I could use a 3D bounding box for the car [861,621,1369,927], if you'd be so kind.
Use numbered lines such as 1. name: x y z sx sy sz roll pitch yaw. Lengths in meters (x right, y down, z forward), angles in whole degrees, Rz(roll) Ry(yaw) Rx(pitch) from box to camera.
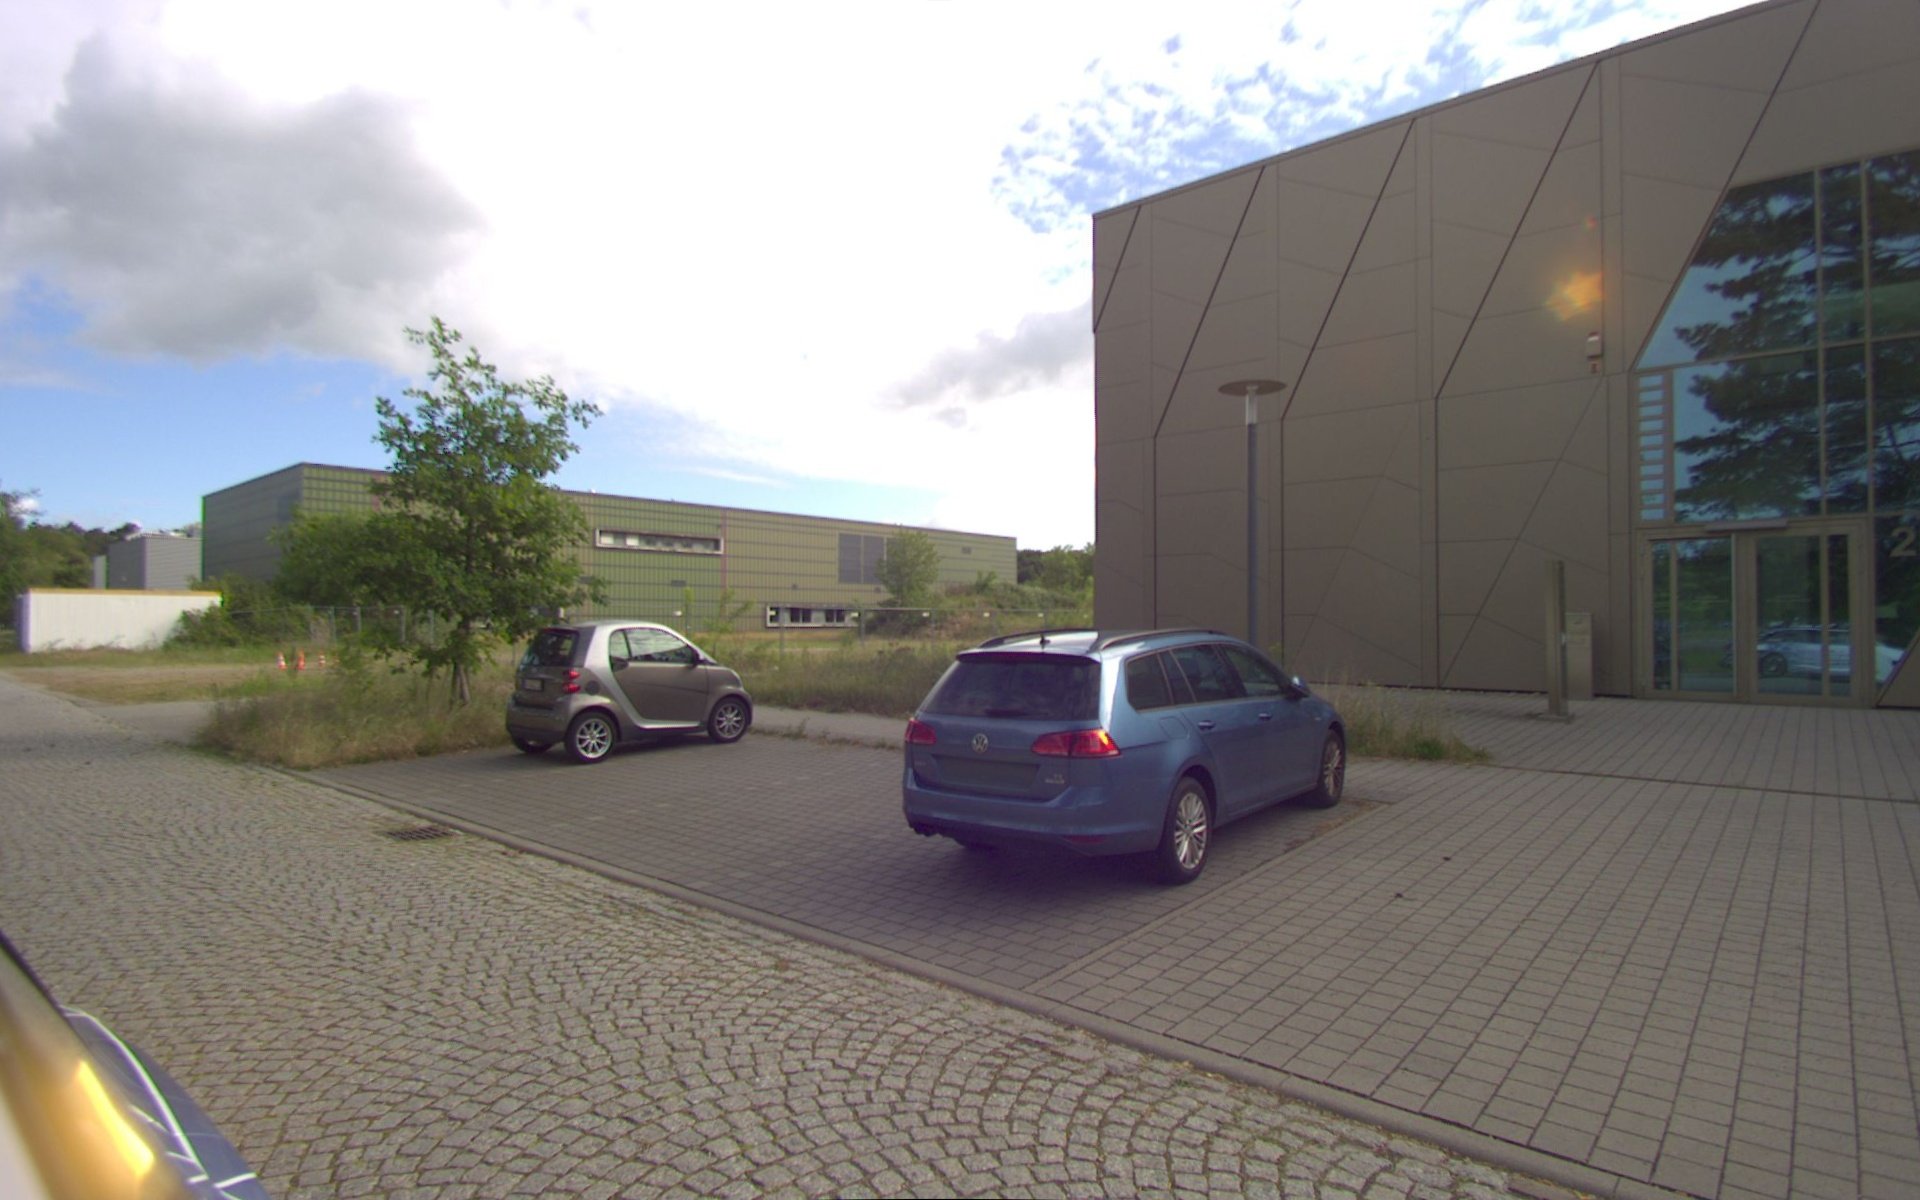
1. car: 1.402 0.925 7.303 1.771 1.439 4.264 -2 -1 38

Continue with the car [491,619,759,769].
1. car: -3.985 1.029 12.227 1.609 1.523 2.627 -2 -1 40
